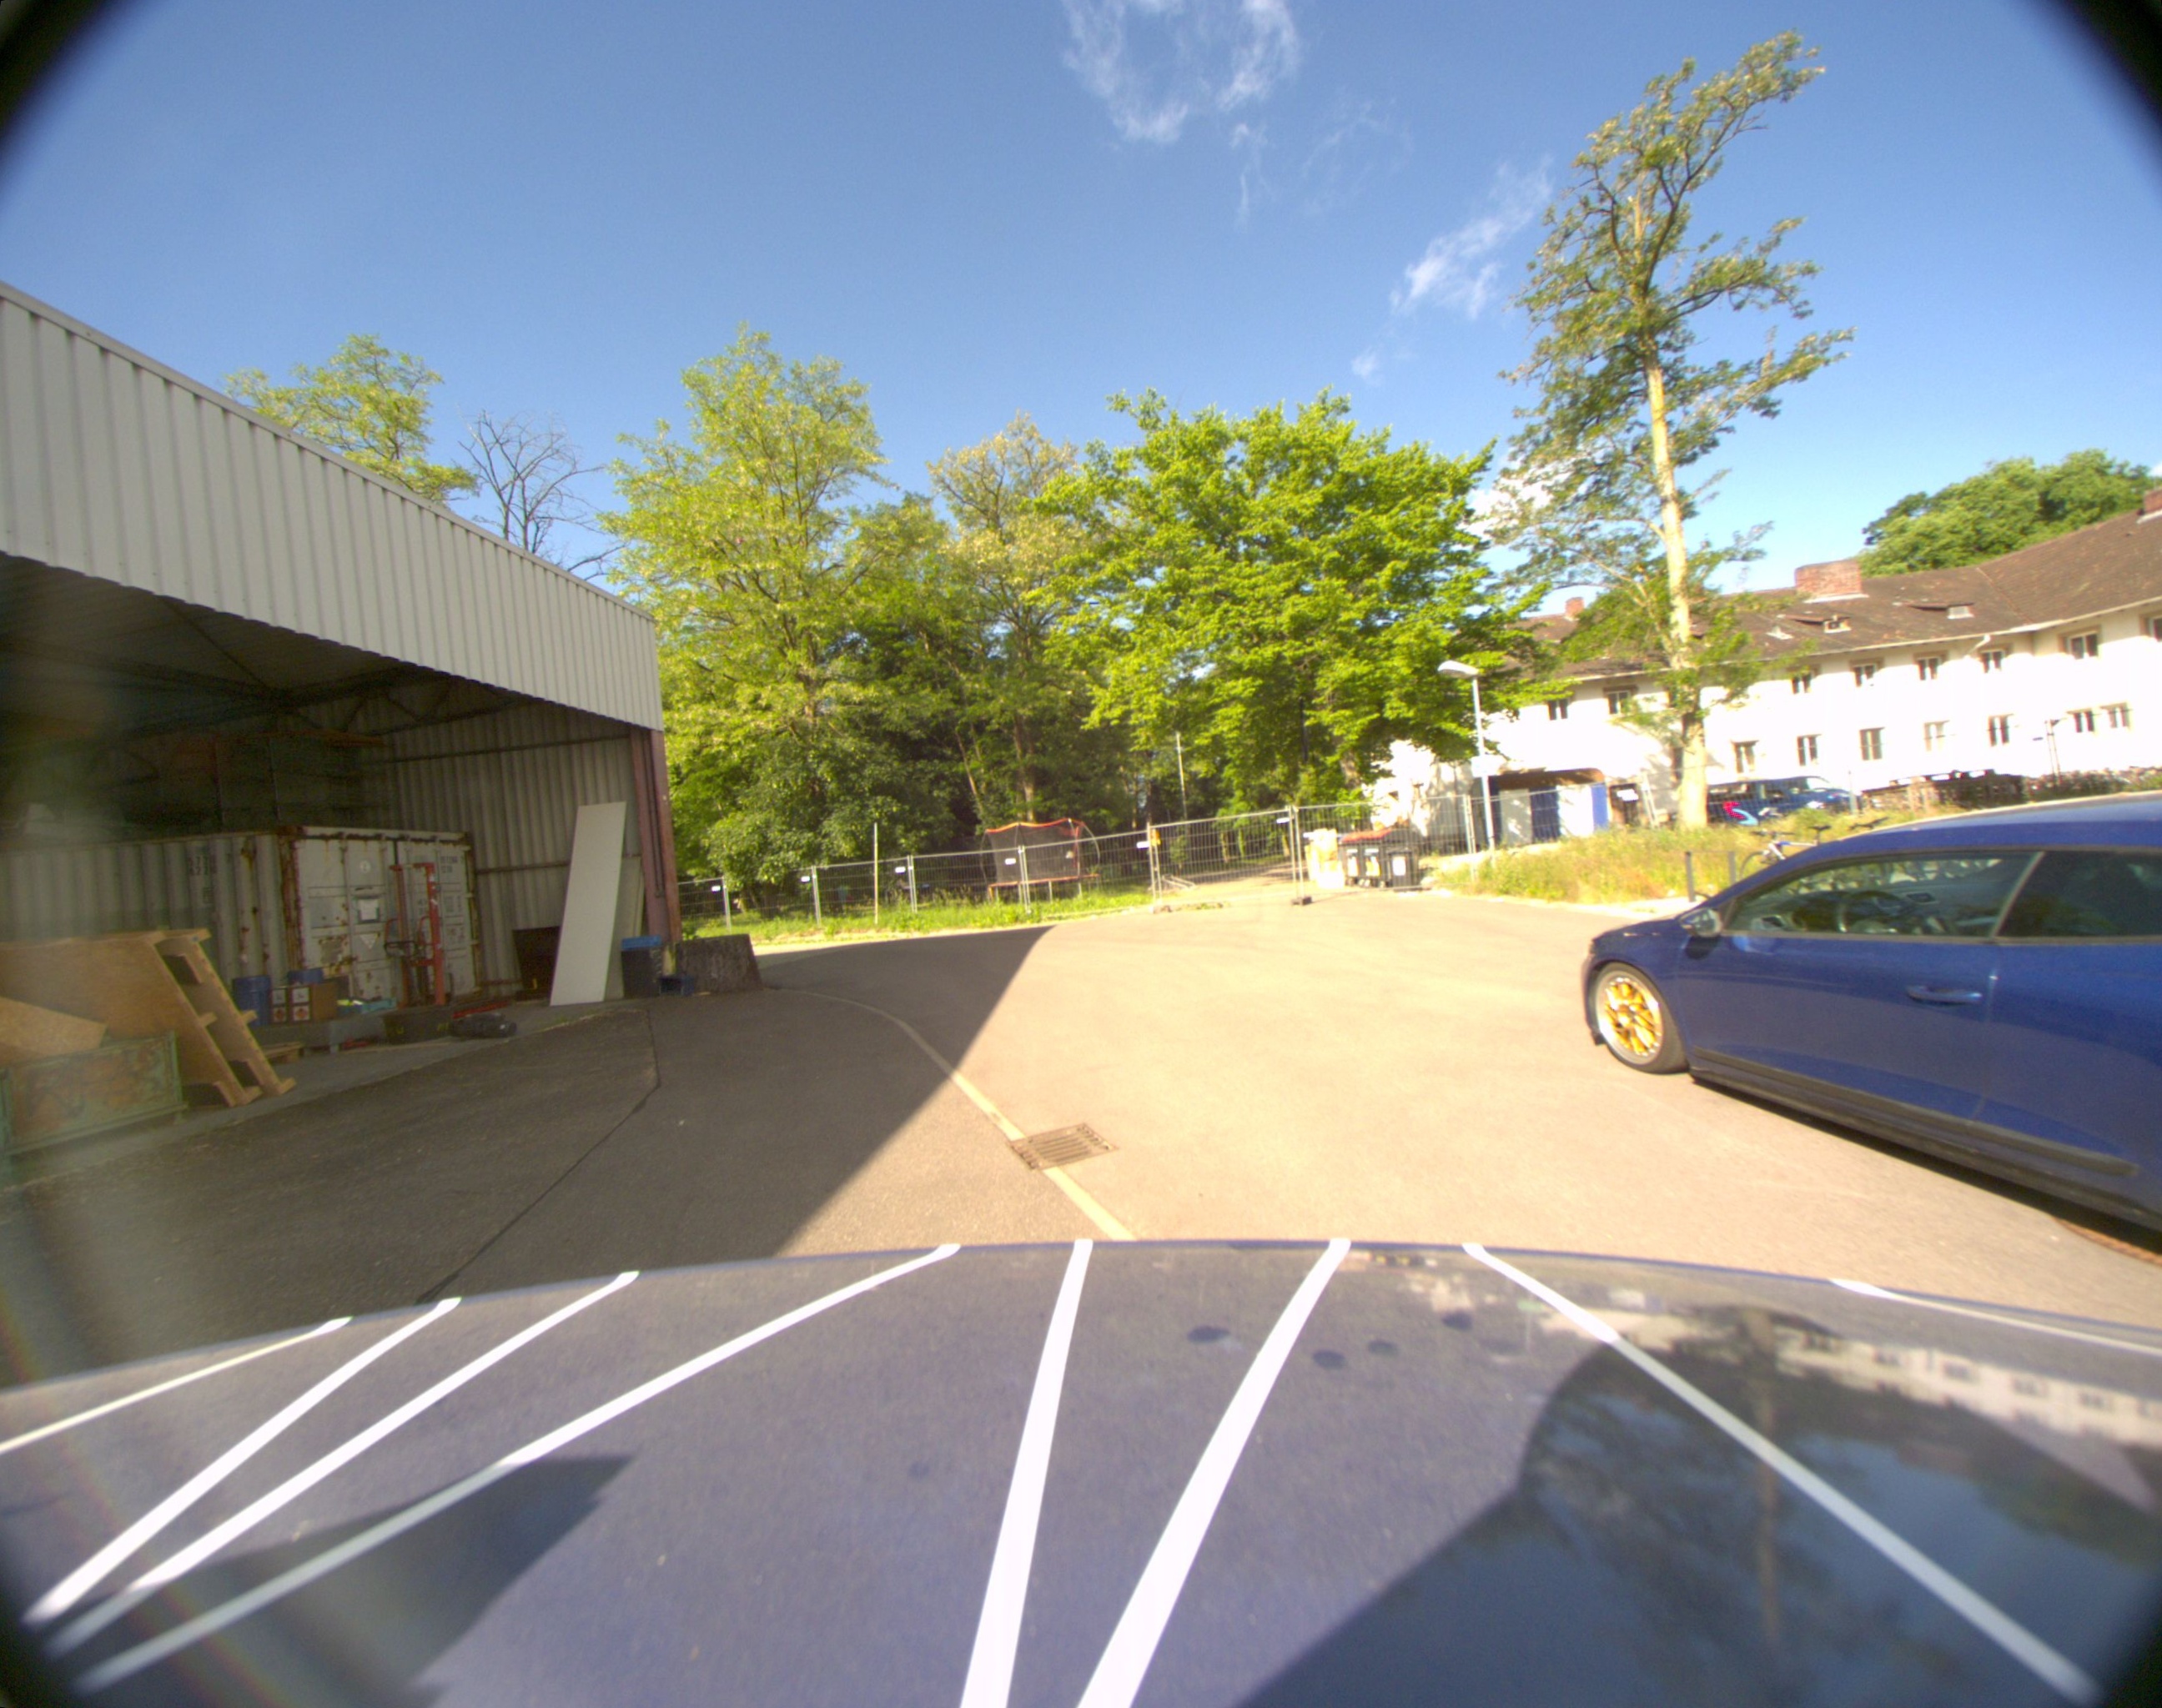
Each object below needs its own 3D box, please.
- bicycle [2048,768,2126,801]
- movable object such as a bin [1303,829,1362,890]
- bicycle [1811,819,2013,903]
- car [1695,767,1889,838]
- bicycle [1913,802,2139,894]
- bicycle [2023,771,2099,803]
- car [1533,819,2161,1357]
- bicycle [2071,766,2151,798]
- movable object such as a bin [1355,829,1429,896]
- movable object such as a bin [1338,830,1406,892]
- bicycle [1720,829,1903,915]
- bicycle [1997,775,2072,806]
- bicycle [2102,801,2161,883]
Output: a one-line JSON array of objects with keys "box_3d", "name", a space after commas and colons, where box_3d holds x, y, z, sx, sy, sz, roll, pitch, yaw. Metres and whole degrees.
[{"box_3d": [40.789, -2.801, 30.843, 0.795, 1.126, 1.844, -7, 2, 8], "name": "bicycle"}, {"box_3d": [7.088, 0.142, 21.512, 1.093, 1.588, 1.230, -6, 2, -3], "name": "movable object such as a bin"}, {"box_3d": [10.740, 0.090, 9.928, 0.482, 0.954, 1.834, -7, 0, -3], "name": "bicycle"}, {"box_3d": [24.562, -1.704, 26.573, 2.057, 2.001, 4.874, -7, 2, 0], "name": "car"}, {"box_3d": [12.069, -0.061, 9.812, 0.482, 1.031, 1.831, -7, 0, -3], "name": "bicycle"}, {"box_3d": [39.868, -2.694, 30.950, 0.795, 1.126, 1.844, -7, 2, 8], "name": "bicycle"}, {"box_3d": [3.812, 0.616, 2.874, 1.778, 1.352, 4.054, -6, 0, 2], "name": "car"}, {"box_3d": [41.699, -2.909, 30.788, 0.795, 1.126, 1.842, -7, 2, 8], "name": "bicycle"}, {"box_3d": [7.453, 0.190, 18.261, 1.093, 1.424, 1.230, -7, 1, -3], "name": "movable object such as a bin"}, {"box_3d": [7.477, 0.182, 19.596, 1.093, 1.431, 1.230, -7, 1, -3], "name": "movable object such as a bin"}, {"box_3d": [9.543, 0.226, 10.035, 0.482, 0.981, 1.835, -7, 0, -3], "name": "bicycle"}, {"box_3d": [38.858, -2.574, 31.004, 0.795, 1.126, 1.844, -7, 2, 8], "name": "bicycle"}, {"box_3d": [14.723, -0.176, 9.805, 0.482, 1.082, 1.835, -7, 0, -3], "name": "bicycle"}]
